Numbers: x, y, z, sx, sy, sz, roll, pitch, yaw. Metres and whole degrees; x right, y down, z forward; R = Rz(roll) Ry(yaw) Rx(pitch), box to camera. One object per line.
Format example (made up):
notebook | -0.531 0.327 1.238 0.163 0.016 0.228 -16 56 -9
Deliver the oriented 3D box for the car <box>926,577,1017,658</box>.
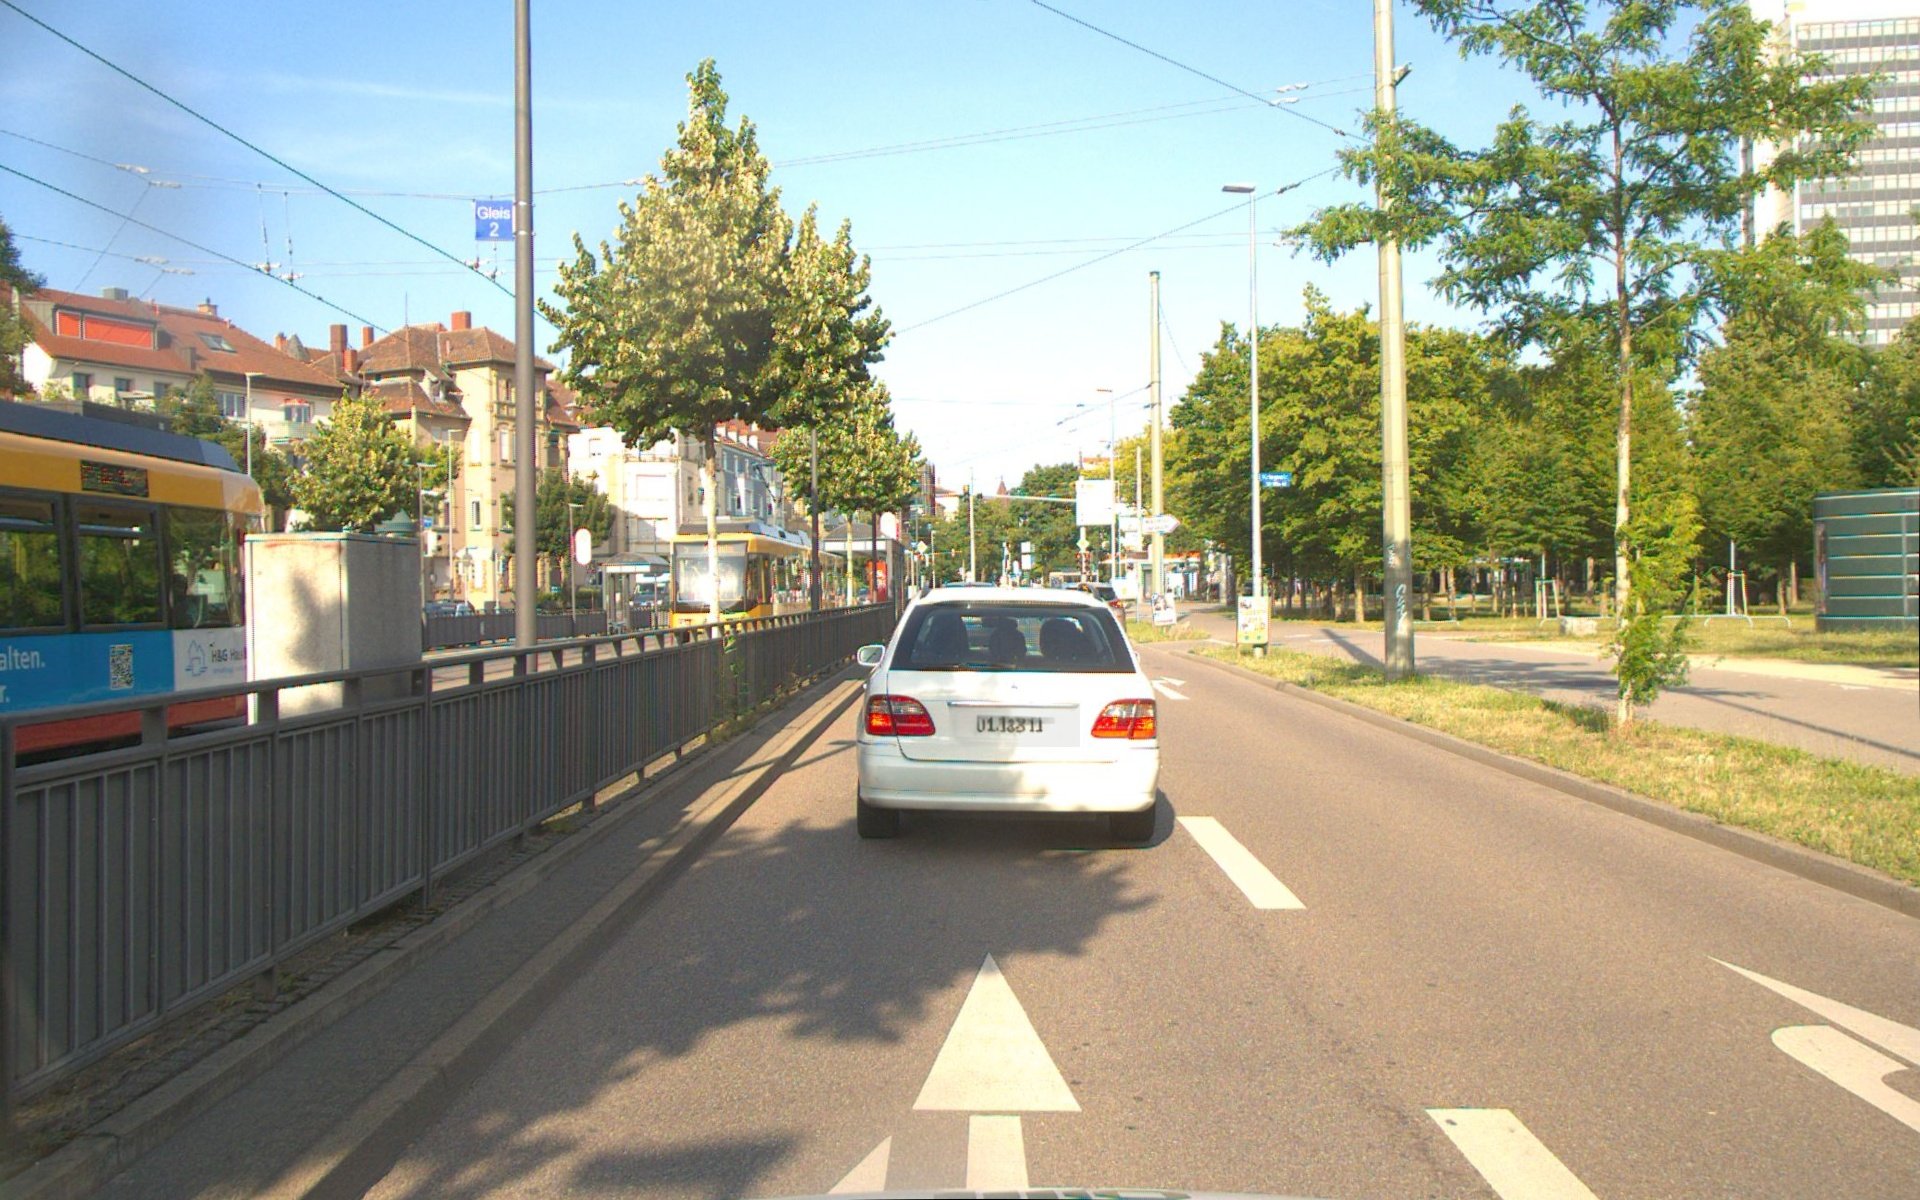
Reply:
car | 0.321 0.345 37.345 1.749 1.719 4.003 0 1 5

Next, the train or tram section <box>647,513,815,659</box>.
train or tram section | -6.144 -0.440 46.753 2.791 3.540 13.201 0 1 1

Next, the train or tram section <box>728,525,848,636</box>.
train or tram section | -5.975 -0.715 59.826 2.791 3.540 13.201 -1 1 1

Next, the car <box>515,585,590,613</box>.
car | -25.340 -0.081 103.080 2.159 1.656 4.715 0 1 23

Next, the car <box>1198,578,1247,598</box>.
car | 23.250 -1.076 146.581 3.908 1.680 1.998 -1 0 26

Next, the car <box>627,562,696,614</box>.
car | -16.713 -0.675 93.123 2.543 2.783 7.468 -1 1 0

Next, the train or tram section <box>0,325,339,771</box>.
train or tram section | -9.170 -0.400 12.887 3.097 3.540 14.473 -1 1 0

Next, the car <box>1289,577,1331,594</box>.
car | 36.842 -1.556 174.014 3.939 1.680 1.983 -2 0 -26

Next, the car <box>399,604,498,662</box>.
car | -16.426 1.017 53.298 1.953 1.713 4.000 -1 1 -1

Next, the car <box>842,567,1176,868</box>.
car | 0.359 0.677 10.635 1.721 1.530 4.001 1 -2 3

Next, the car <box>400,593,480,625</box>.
car | -29.609 0.500 94.162 3.903 1.780 2.001 0 1 18

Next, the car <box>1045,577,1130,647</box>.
car | 3.178 0.259 41.234 1.990 1.633 4.002 0 1 4
